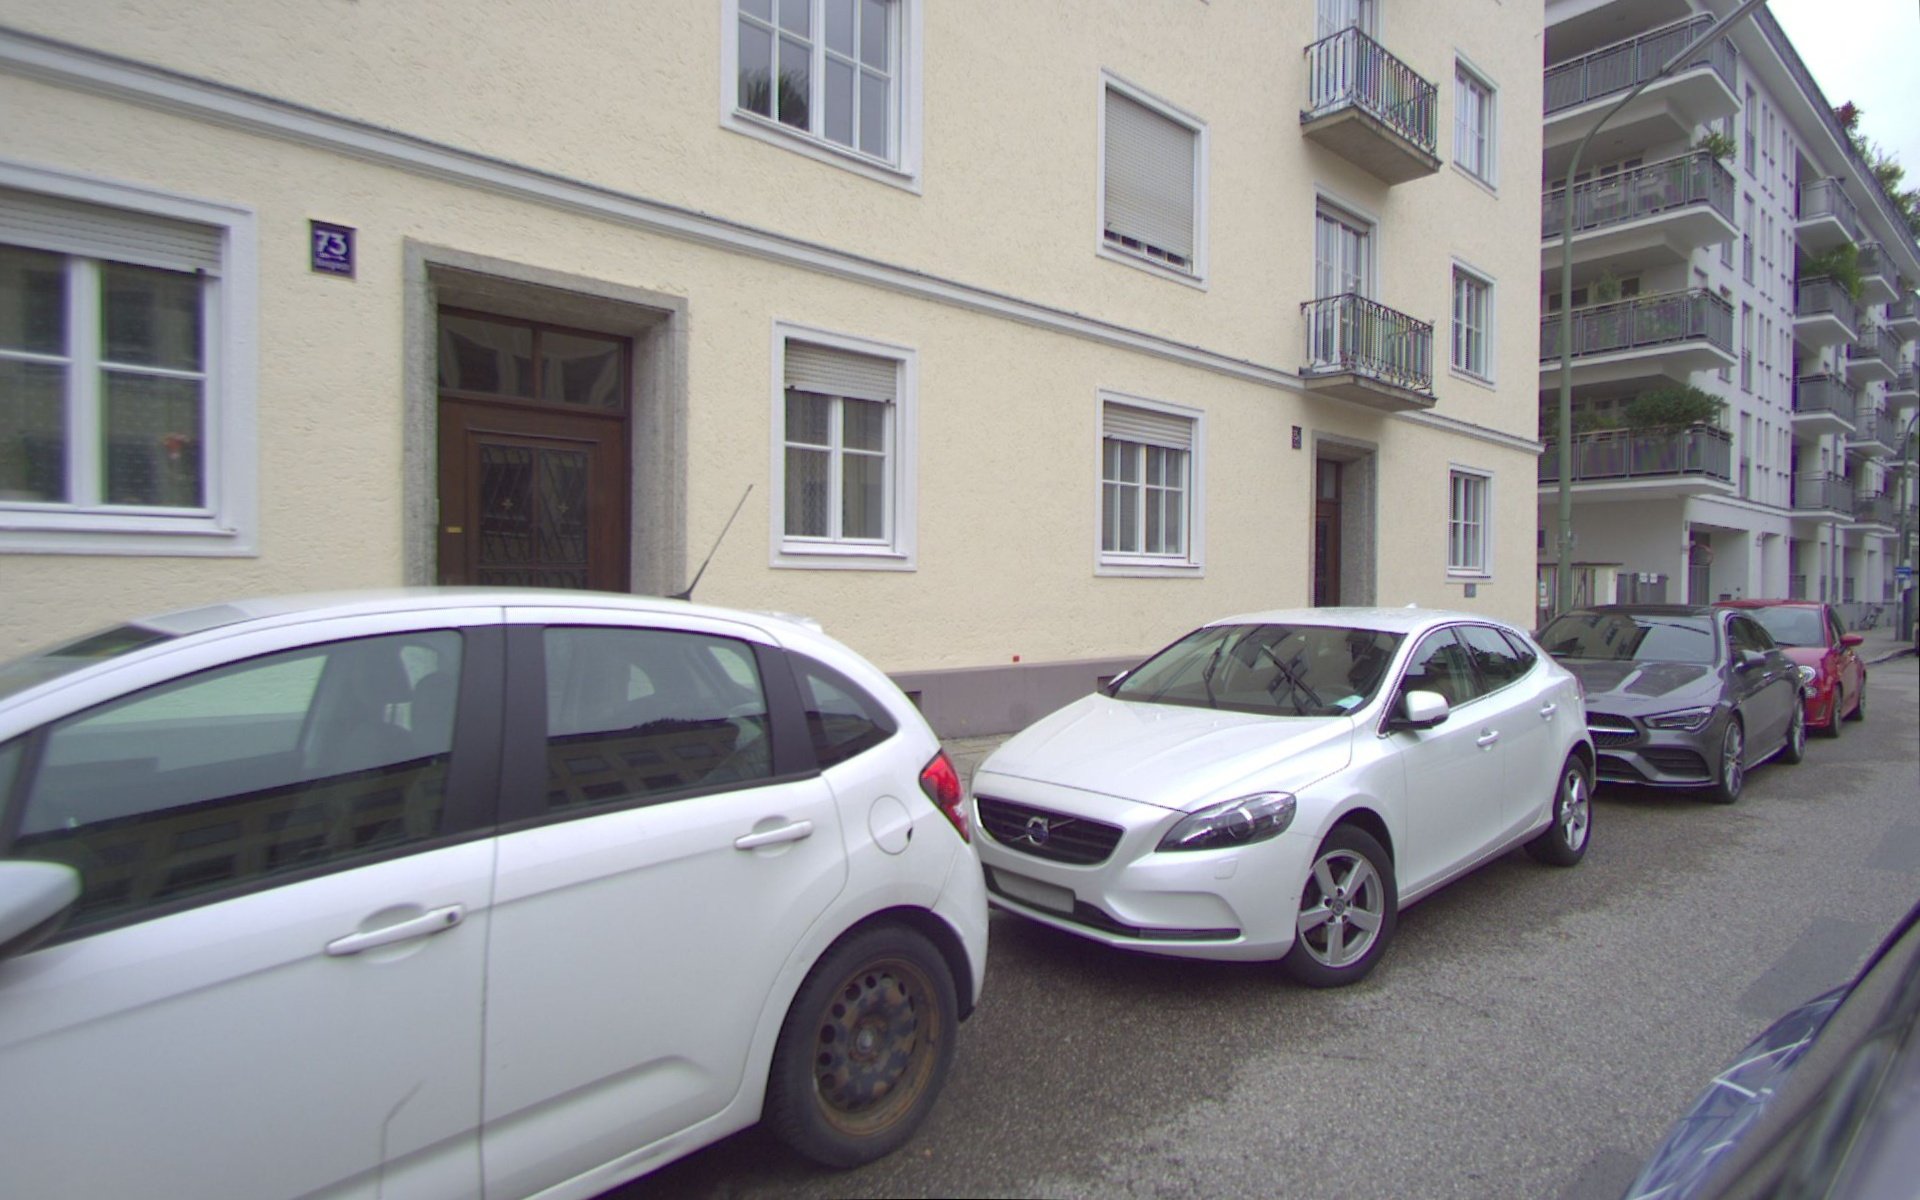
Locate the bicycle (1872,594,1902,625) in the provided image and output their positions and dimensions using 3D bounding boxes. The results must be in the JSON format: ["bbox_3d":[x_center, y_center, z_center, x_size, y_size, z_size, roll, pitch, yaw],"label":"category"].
[{"bbox_3d":[35.562,0.352,38.825,1.778,1.111,0.570,0,4,-40],"label":"bicycle"}]

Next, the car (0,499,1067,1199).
[{"bbox_3d":[-1.650,0.635,2.382,3.926,1.563,1.652,0,0,-43],"label":"car"}]

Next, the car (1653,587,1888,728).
[{"bbox_3d":[9.901,0.594,12.273,3.691,1.448,1.657,0,0,-42],"label":"car"}]

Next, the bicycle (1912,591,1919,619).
[{"bbox_3d":[42.181,0.217,44.113,1.938,1.187,0.803,0,0,-40],"label":"bicycle"}]

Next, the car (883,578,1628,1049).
[{"bbox_3d":[1.795,0.657,5.183,4.220,1.448,1.727,0,0,-42],"label":"car"}]

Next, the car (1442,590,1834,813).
[{"bbox_3d":[6.049,0.663,8.782,4.535,1.448,1.775,0,0,-42],"label":"car"}]
